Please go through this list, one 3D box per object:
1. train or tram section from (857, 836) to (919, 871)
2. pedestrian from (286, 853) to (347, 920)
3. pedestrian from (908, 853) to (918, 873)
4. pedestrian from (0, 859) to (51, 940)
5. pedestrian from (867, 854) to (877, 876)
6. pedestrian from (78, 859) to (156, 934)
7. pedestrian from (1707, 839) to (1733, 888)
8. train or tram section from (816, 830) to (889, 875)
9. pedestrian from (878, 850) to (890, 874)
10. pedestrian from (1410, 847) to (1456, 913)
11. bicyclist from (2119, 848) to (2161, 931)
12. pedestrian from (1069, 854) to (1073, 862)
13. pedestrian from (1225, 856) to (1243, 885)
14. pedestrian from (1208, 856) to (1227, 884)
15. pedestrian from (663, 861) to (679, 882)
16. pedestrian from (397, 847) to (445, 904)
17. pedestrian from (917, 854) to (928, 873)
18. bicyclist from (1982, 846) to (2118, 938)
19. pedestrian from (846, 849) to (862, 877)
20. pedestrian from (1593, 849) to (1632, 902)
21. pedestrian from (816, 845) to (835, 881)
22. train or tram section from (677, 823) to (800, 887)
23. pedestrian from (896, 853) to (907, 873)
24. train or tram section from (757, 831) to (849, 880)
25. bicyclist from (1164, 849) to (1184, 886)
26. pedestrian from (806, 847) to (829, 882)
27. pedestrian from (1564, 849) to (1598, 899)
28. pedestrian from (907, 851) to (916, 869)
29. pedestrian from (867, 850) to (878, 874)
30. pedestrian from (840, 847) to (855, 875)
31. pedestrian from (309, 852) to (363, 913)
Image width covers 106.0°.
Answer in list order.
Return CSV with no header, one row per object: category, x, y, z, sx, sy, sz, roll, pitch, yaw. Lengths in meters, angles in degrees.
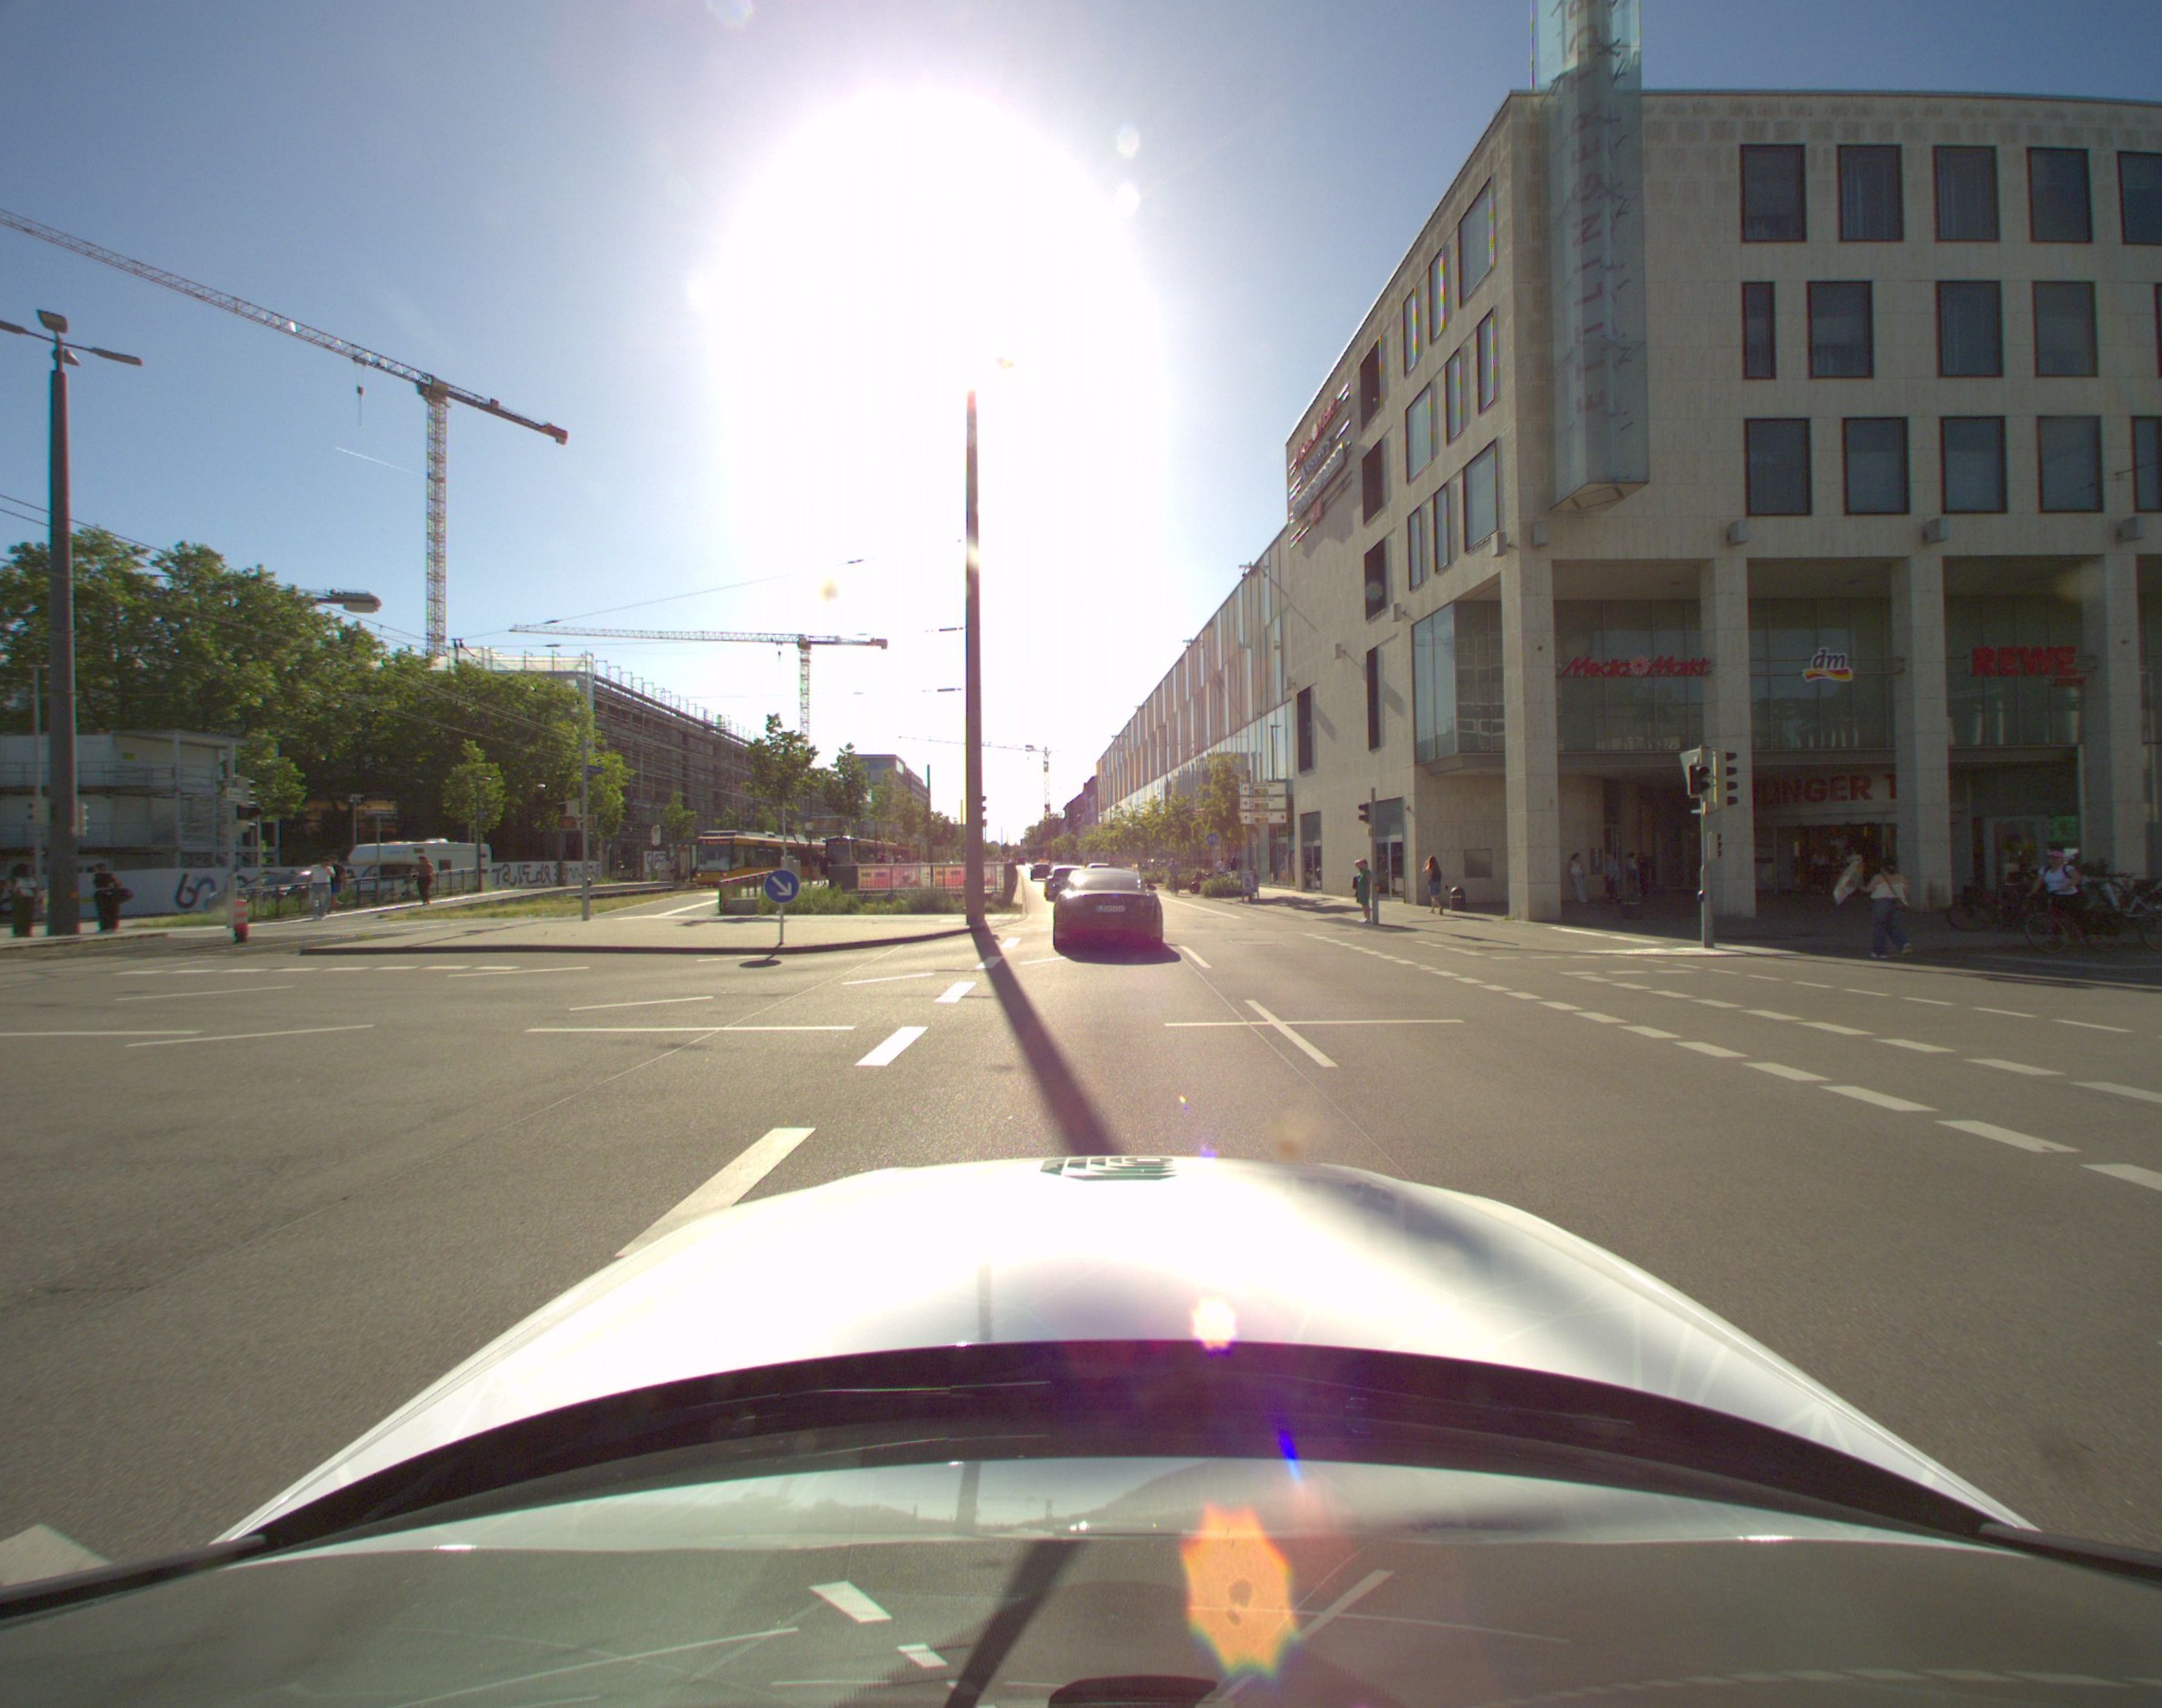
train or tram section,-20.213,0.005,86.962,2.865,3.279,22.108,1,0,-4
pedestrian,-21.587,0.892,23.008,0.799,1.823,0.974,-1,0,-7
pedestrian,-14.161,0.768,68.722,0.740,1.628,0.860,-1,-1,-4
pedestrian,-24.730,1.032,18.893,0.792,1.823,0.887,-1,0,28
pedestrian,-14.992,0.780,58.437,0.646,1.512,0.587,1,0,-7
pedestrian,-24.471,1.055,20.694,0.799,1.823,0.974,-1,0,-7
pedestrian,23.333,0.342,29.732,0.559,1.762,0.642,-1,1,-40
train or tram section,-18.822,-0.087,68.362,2.865,3.279,15.161,1,0,-4
pedestrian,-15.261,0.638,63.070,0.768,1.811,1.029,-1,-1,-5
pedestrian,10.082,0.726,23.342,0.726,1.801,1.064,-3,0,-4
bicyclist,18.813,0.604,13.854,0.930,1.396,1.076,-1,0,-1
pedestrian,-2.079,0.863,173.145,0.850,1.863,0.928,-1,-1,-6
pedestrian,8.904,0.936,47.373,0.706,1.658,0.897,-3,0,-9
pedestrian,7.974,0.924,47.526,0.820,1.658,0.897,0,-1,-9
pedestrian,-24.579,1.028,48.799,0.670,1.226,0.505,1,-1,-7
pedestrian,-21.699,0.693,26.784,0.799,1.823,0.974,-1,0,-7
pedestrian,-13.371,0.821,68.799,0.740,1.628,0.860,-1,-1,-4
bicyclist,16.388,0.624,13.808,1.019,1.476,1.071,-1,0,-1
pedestrian,-14.284,0.562,51.210,0.790,1.775,0.976,1,0,-7
pedestrian,16.672,0.669,25.562,0.722,1.608,0.749,-1,0,-4
pedestrian,-12.566,0.437,40.014,0.702,1.775,0.957,1,0,-7
train or tram section,-20.479,0.082,49.899,2.865,3.310,13.052,1,0,-4
pedestrian,-14.906,0.743,67.603,0.740,1.628,0.860,-1,-1,-4
train or tram section,-21.523,0.157,64.324,2.842,3.321,15.941,1,0,-4
bicyclist,4.503,0.661,39.649,0.724,1.737,0.995,-1,-1,-8
pedestrian,-13.826,0.537,42.751,0.873,1.775,1.186,1,0,-7
pedestrian,16.233,0.634,26.466,0.746,1.608,0.556,-1,0,-6
pedestrian,-16.239,0.575,78.027,0.740,1.628,0.860,-1,-1,-4
pedestrian,-16.086,0.617,62.893,0.670,1.811,1.073,-1,-1,-5
pedestrian,-15.321,0.468,53.401,0.760,1.775,0.825,1,0,-7
pedestrian,-22.905,0.862,25.057,0.799,1.823,0.974,-1,0,-7
